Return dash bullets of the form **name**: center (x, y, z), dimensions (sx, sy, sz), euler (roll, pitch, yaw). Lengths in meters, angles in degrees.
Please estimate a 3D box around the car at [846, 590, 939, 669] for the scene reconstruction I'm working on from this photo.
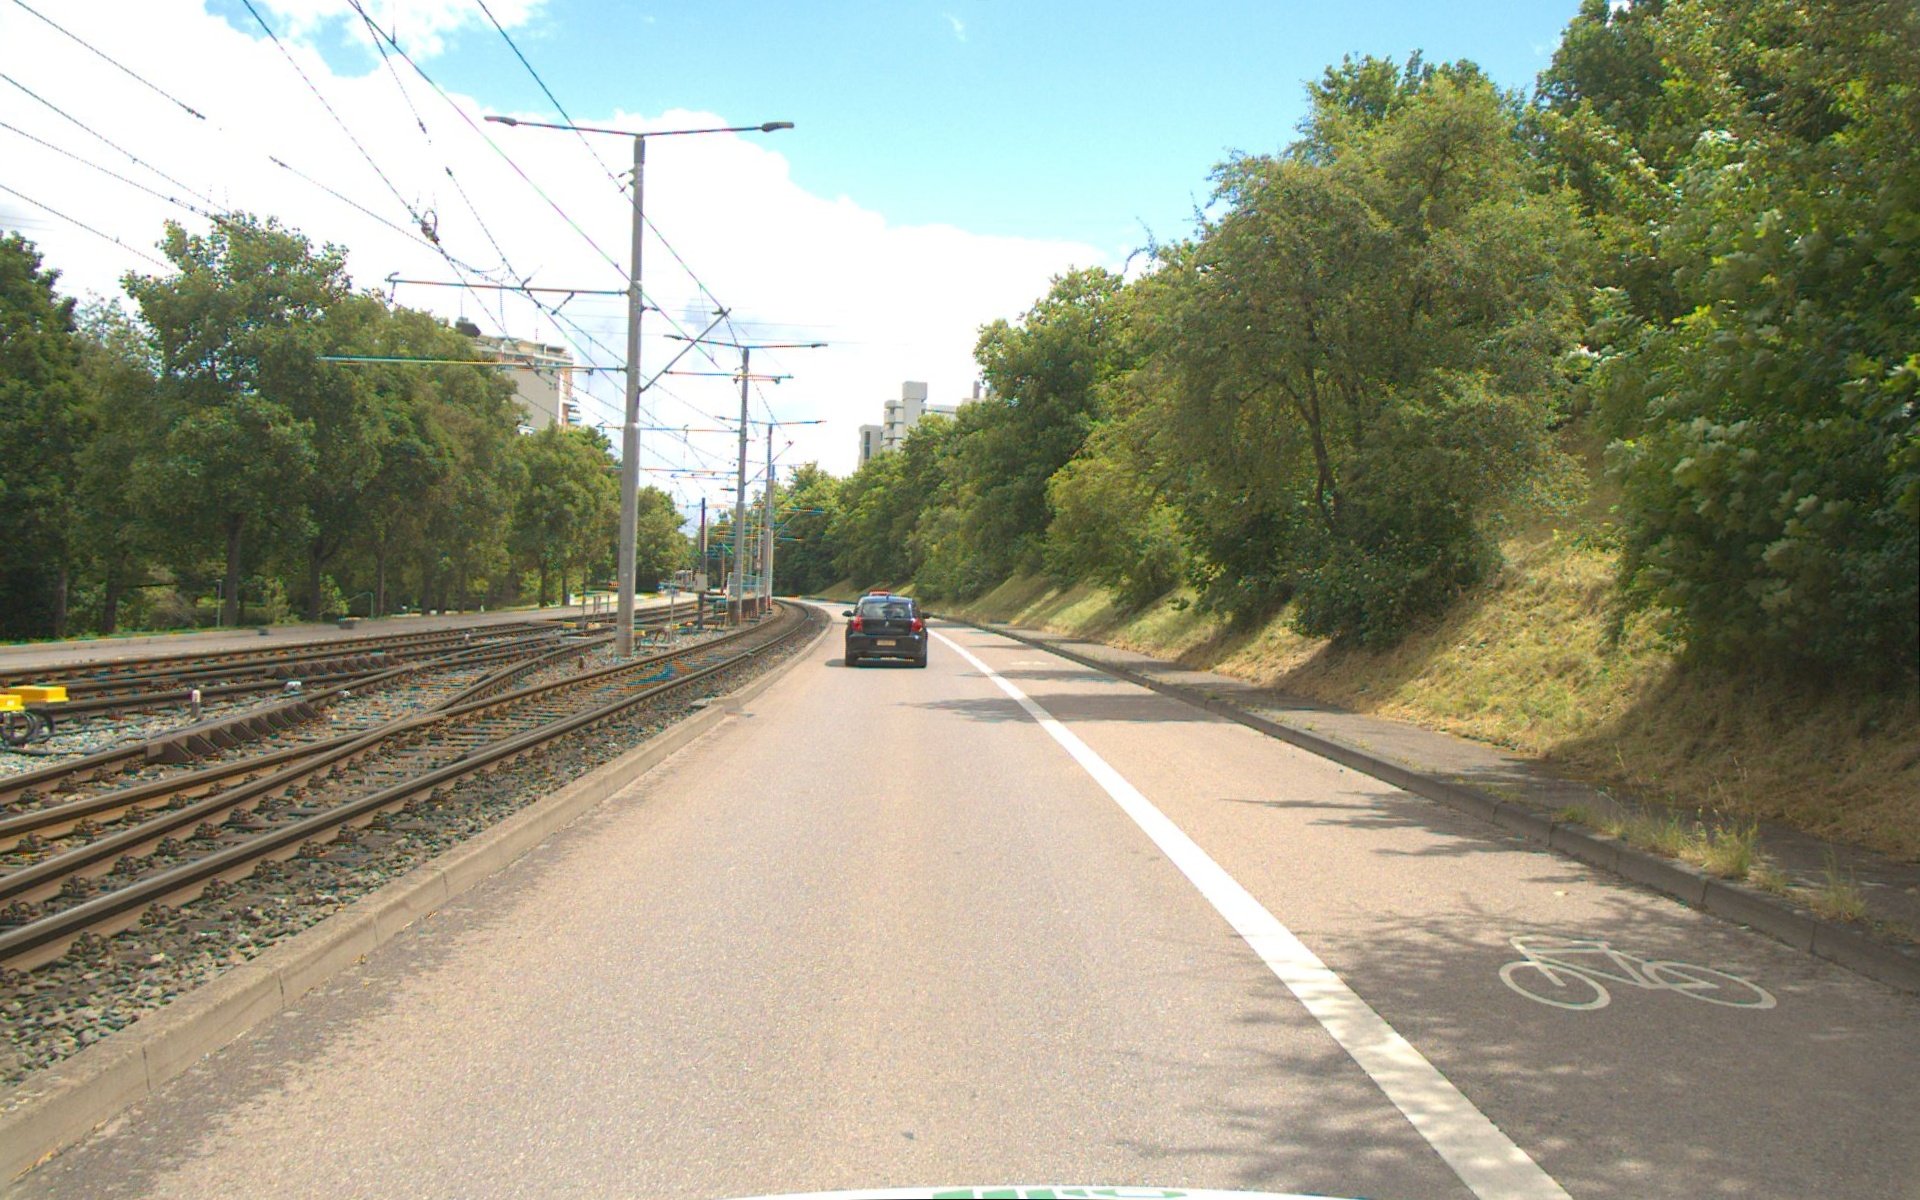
- **car**: center (-1.368, 0.607, 34.908), dimensions (1.673, 1.485, 3.960), euler (3, -1, 1)

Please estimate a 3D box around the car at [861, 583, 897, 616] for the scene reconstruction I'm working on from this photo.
- **car**: center (-4.011, -0.057, 81.809), dimensions (1.593, 1.468, 3.418), euler (3, 1, -5)
